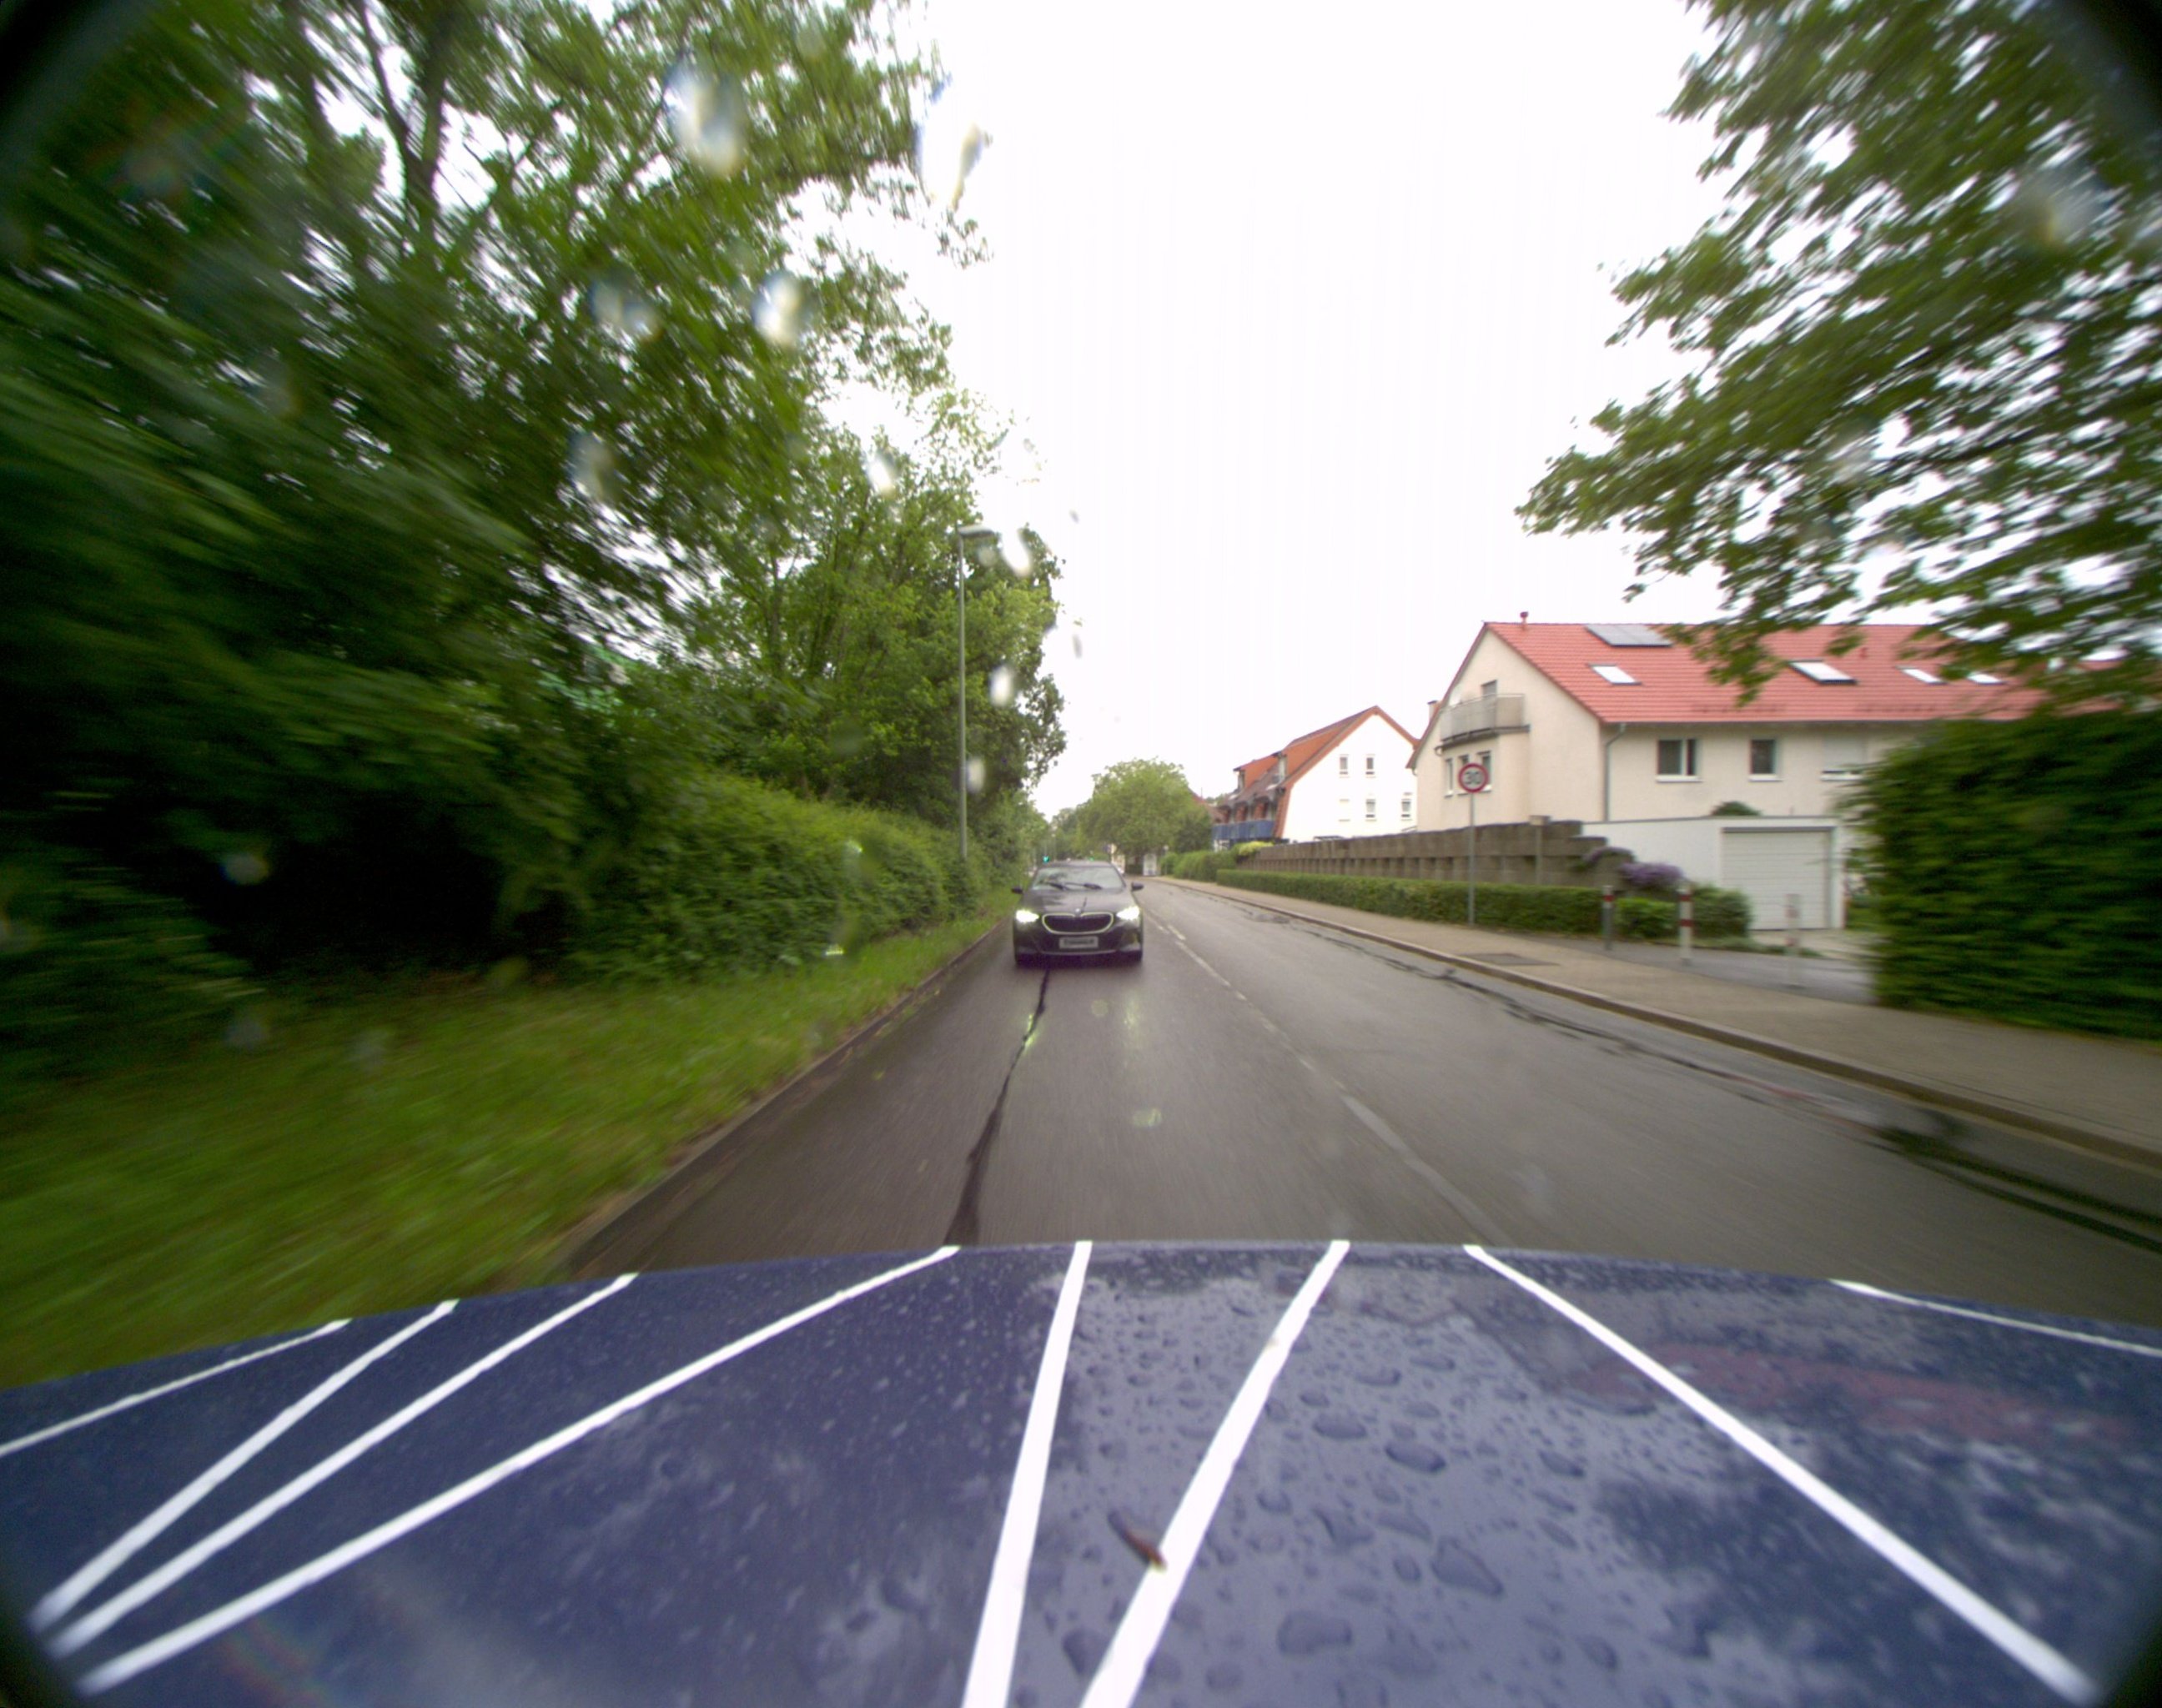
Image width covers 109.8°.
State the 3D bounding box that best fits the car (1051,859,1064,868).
[{"bbox_3d":[-4.412,1.829,143.002,2.000,1.420,4.387,4,-2,-5],"label":"car"}]

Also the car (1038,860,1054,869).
[{"bbox_3d":[-6.849,2.130,149.167,2.001,1.651,4.297,0,-1,-17],"label":"car"}]

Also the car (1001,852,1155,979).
[{"bbox_3d":[-0.197,0.854,12.300,1.999,1.586,4.146,-3,-1,-5],"label":"car"}]

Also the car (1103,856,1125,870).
[{"bbox_3d":[3.360,0.922,77.708,1.999,1.411,4.485,1,0,0],"label":"car"}]
